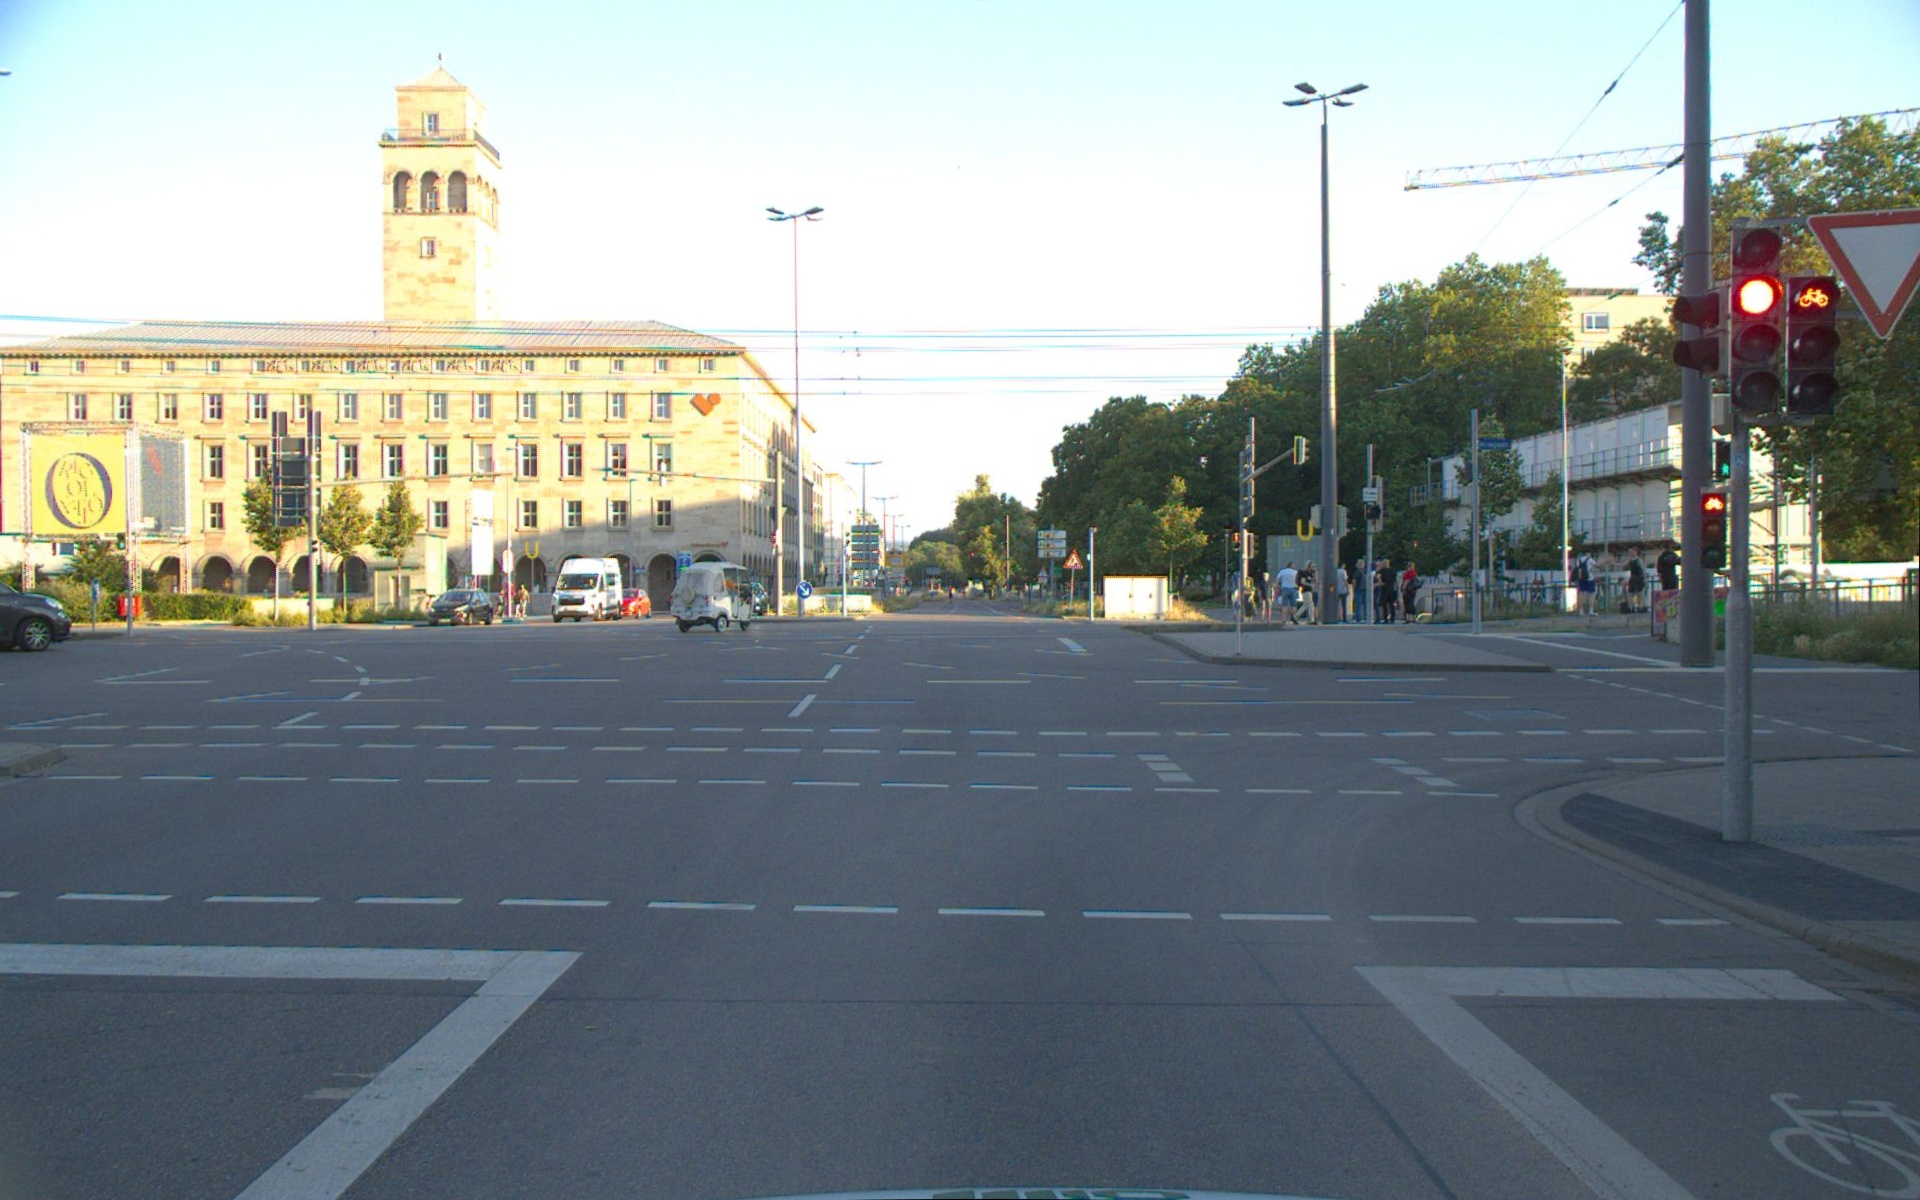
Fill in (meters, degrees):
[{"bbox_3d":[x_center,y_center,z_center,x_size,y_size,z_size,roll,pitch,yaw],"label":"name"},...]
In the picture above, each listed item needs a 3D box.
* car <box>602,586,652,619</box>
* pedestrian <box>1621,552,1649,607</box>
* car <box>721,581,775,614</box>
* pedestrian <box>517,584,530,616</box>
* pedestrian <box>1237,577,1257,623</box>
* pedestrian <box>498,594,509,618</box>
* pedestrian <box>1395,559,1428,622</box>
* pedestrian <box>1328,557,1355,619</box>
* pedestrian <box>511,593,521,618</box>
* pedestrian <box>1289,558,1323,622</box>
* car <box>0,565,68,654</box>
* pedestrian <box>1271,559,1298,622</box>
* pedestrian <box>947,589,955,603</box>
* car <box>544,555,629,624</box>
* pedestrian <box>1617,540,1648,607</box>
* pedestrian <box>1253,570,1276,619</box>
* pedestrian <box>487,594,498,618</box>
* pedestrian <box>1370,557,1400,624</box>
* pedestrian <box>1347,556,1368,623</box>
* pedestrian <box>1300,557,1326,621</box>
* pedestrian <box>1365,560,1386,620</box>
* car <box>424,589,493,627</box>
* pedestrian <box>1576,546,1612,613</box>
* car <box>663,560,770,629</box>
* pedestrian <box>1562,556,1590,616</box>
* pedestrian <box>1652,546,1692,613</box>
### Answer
[{"bbox_3d":[-16.275,0.086,80.926,1.703,1.513,4.000,-1,1,-1],"label":"car"},{"bbox_3d":[18.072,-0.548,44.275,0.662,1.466,0.714,0,1,21],"label":"pedestrian"},{"bbox_3d":[-9.254,-0.141,72.487,1.785,1.365,4.001,0,1,1],"label":"car"},{"bbox_3d":[-24.397,-0.003,92.415,0.609,1.774,0.459,1,-1,-6],"label":"pedestrian"},{"bbox_3d":[10.547,-0.014,60.794,0.548,1.683,0.902,0,1,20],"label":"pedestrian"},{"bbox_3d":[-25.200,0.334,91.316,0.496,1.323,0.700,1,-1,-6],"label":"pedestrian"},{"bbox_3d":[12.609,-0.267,46.199,0.826,1.764,0.706,0,1,11],"label":"pedestrian"},{"bbox_3d":[10.785,-0.343,46.698,0.696,1.755,0.915,0,1,16],"label":"pedestrian"},{"bbox_3d":[-24.341,0.296,90.712,0.412,1.323,0.459,1,-1,-6],"label":"pedestrian"},{"bbox_3d":[9.448,-0.276,45.189,0.892,1.755,0.714,0,1,12],"label":"pedestrian"},{"bbox_3d":[-18.808,0.193,30.239,1.716,1.632,4.104,0,1,45],"label":"car"},{"bbox_3d":[9.045,-0.262,46.115,0.695,1.755,0.669,0,1,14],"label":"pedestrian"},{"bbox_3d":[-1.025,-0.486,194.646,0.888,1.700,1.306,-1,1,-2],"label":"pedestrian"},{"bbox_3d":[-16.243,-0.480,72.231,2.232,2.824,6.085,-1,1,1],"label":"car"},{"bbox_3d":[17.724,-0.692,43.605,0.696,1.755,0.669,0,1,16],"label":"pedestrian"},{"bbox_3d":[11.181,-0.212,60.759,0.665,1.788,0.902,0,1,20],"label":"pedestrian"},{"bbox_3d":[-25.804,0.349,91.267,0.465,1.323,0.463,1,-1,-6],"label":"pedestrian"},{"bbox_3d":[11.775,-0.268,45.851,0.788,1.822,0.801,0,1,13],"label":"pedestrian"},{"bbox_3d":[11.012,-0.295,45.791,0.560,1.822,0.639,0,1,13],"label":"pedestrian"},{"bbox_3d":[9.812,-0.305,45.940,0.695,1.755,0.669,0,1,13],"label":"pedestrian"},{"bbox_3d":[11.889,-0.286,47.306,0.560,1.708,0.639,0,1,13],"label":"pedestrian"},{"bbox_3d":[-21.118,0.307,69.813,1.786,1.491,4.156,-1,1,-2],"label":"car"},{"bbox_3d":[16.793,-0.540,43.821,0.653,1.755,0.712,-1,1,-5],"label":"pedestrian"},{"bbox_3d":[-6.311,-0.169,43.130,1.453,1.725,2.974,0,1,22],"label":"car"},{"bbox_3d":[16.810,-0.372,45.152,0.559,1.620,0.536,-1,0,-1],"label":"pedestrian"},{"bbox_3d":[18.596,-0.537,43.223,0.656,1.755,0.709,-1,1,-18],"label":"pedestrian"}]
